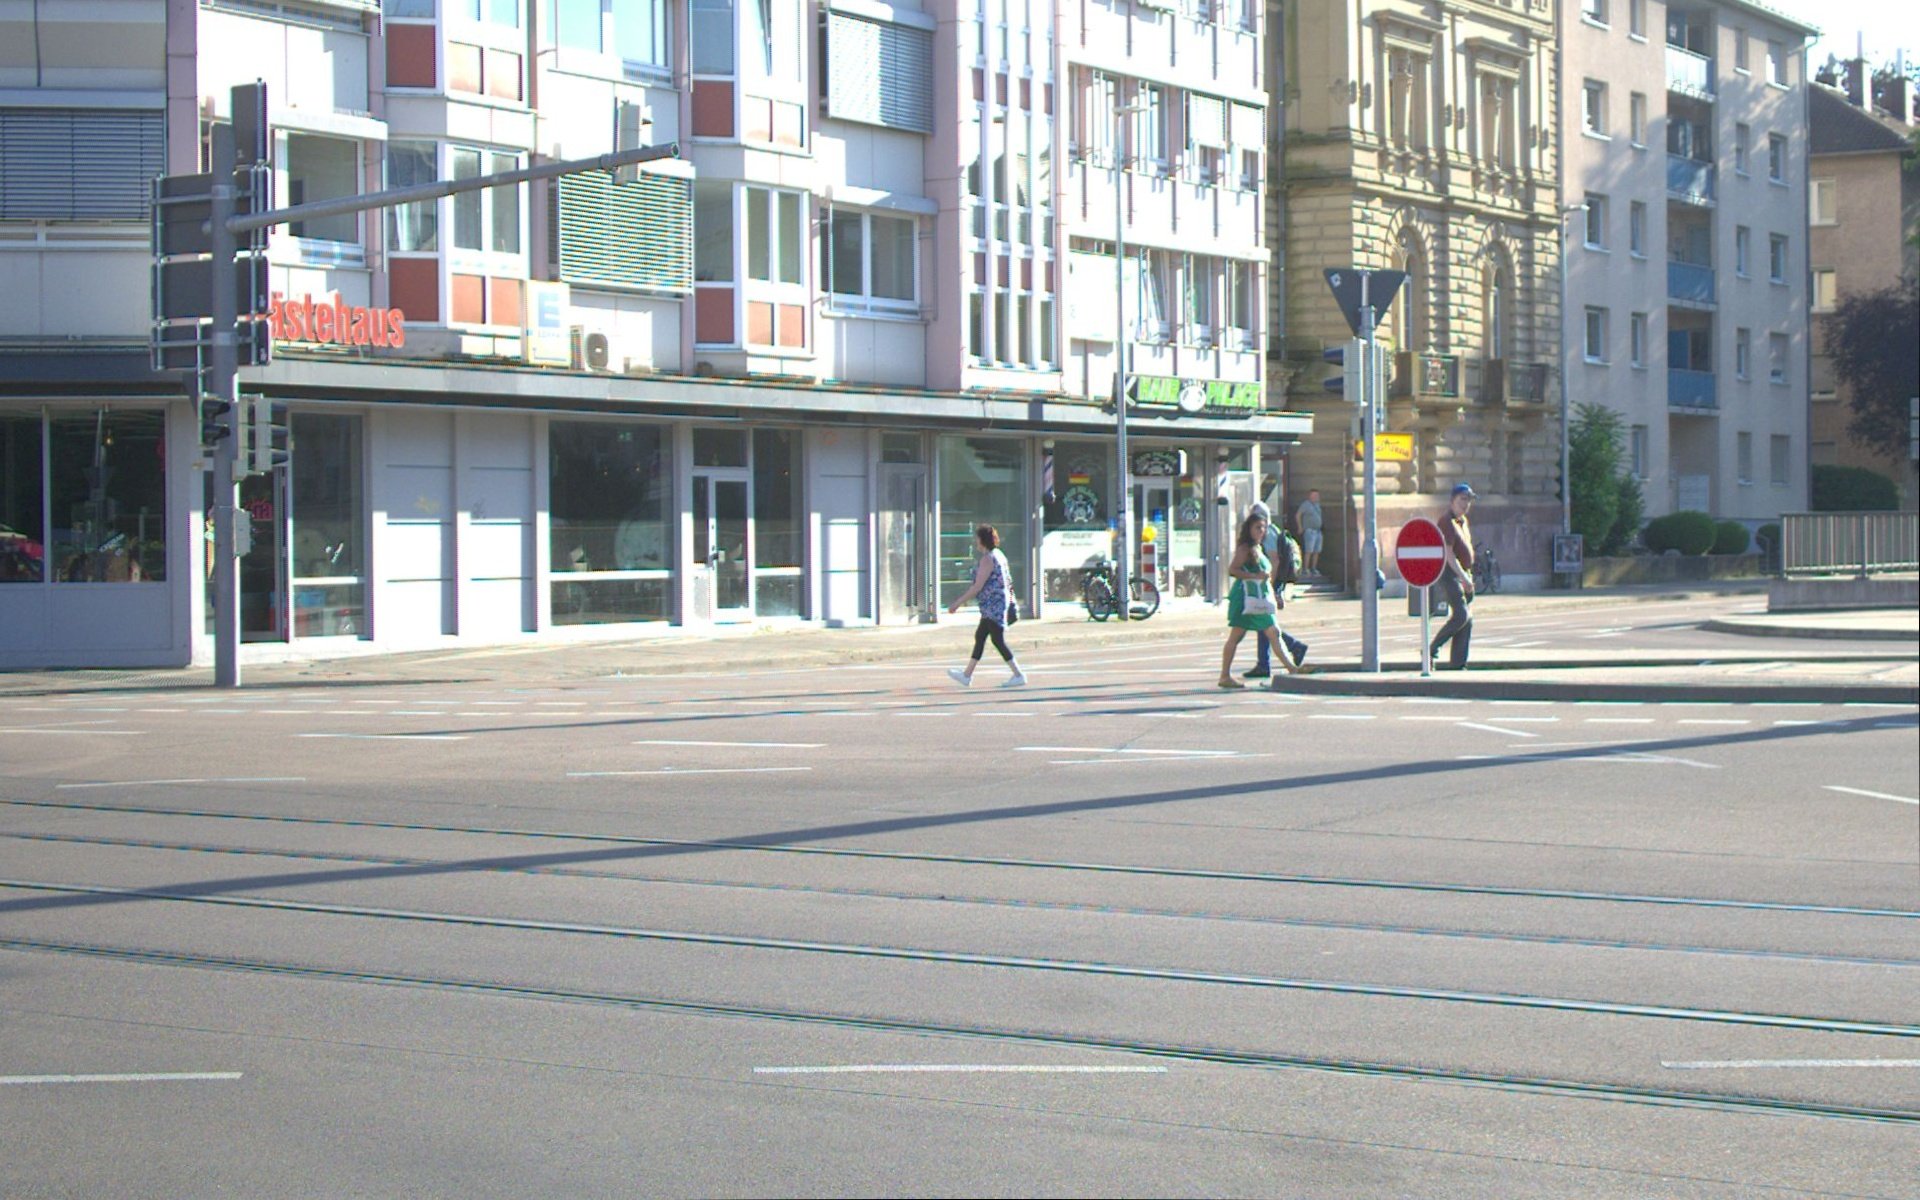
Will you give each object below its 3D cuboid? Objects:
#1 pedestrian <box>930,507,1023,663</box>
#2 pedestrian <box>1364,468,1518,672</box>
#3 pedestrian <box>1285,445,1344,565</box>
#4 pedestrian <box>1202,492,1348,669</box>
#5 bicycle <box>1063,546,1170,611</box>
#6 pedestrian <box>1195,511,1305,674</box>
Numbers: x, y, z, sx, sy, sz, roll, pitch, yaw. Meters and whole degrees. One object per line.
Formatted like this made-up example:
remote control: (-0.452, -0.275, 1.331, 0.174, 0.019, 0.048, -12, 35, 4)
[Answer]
pedestrian: (0.167, -0.138, 33.462, 0.853, 1.460, 0.686, 1, -3, 2)
pedestrian: (4.559, -0.301, 32.561, 1.196, 1.877, 0.855, 2, 3, 26)
pedestrian: (7.180, -1.917, 69.545, 0.927, 2.390, 0.960, 2, 2, 20)
pedestrian: (3.169, -0.210, 34.575, 1.196, 1.725, 0.855, 2, 2, 26)
bicycle: (2.656, -0.366, 58.195, 2.086, 1.067, 0.452, -1, 2, -42)
pedestrian: (2.644, -0.078, 31.333, 0.706, 1.448, 0.855, 2, 2, 26)
